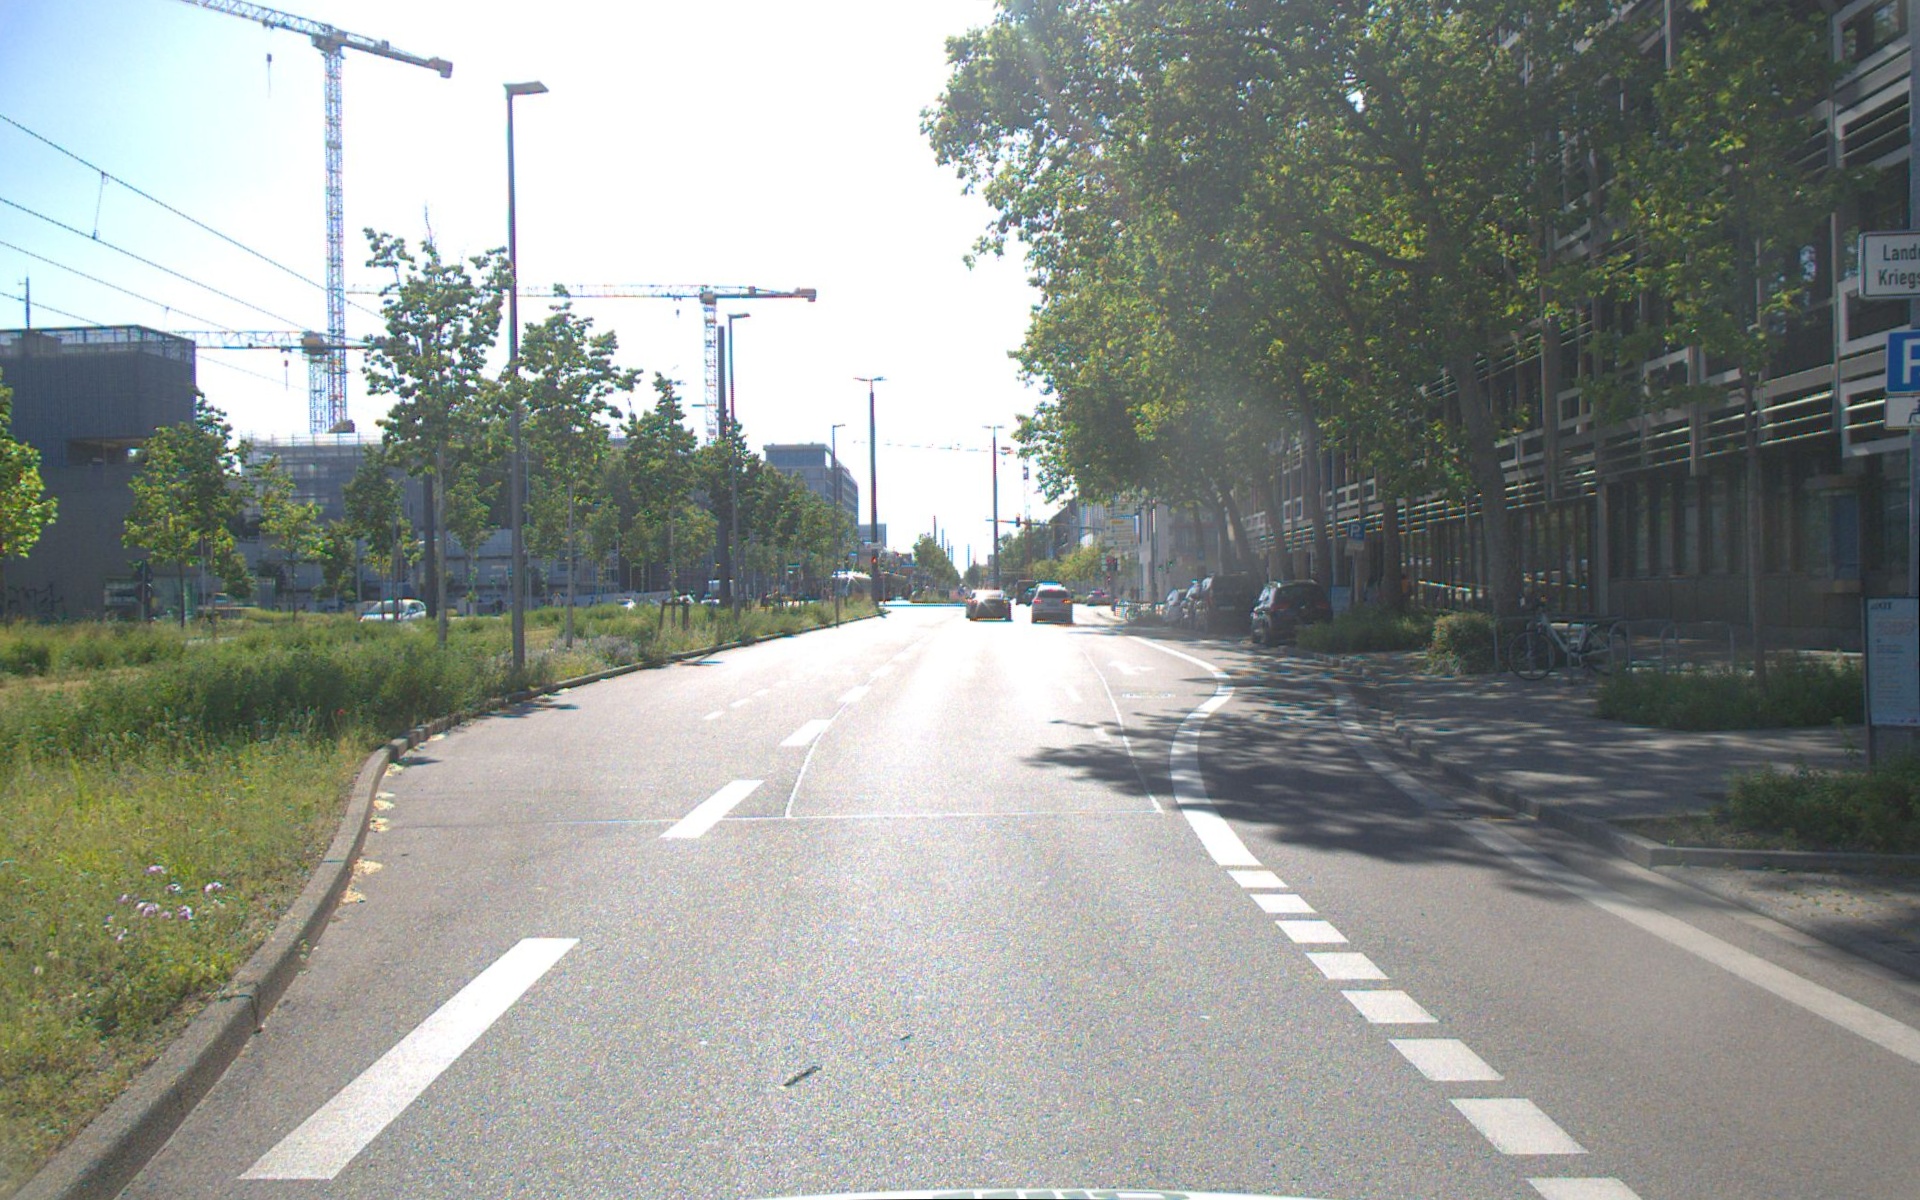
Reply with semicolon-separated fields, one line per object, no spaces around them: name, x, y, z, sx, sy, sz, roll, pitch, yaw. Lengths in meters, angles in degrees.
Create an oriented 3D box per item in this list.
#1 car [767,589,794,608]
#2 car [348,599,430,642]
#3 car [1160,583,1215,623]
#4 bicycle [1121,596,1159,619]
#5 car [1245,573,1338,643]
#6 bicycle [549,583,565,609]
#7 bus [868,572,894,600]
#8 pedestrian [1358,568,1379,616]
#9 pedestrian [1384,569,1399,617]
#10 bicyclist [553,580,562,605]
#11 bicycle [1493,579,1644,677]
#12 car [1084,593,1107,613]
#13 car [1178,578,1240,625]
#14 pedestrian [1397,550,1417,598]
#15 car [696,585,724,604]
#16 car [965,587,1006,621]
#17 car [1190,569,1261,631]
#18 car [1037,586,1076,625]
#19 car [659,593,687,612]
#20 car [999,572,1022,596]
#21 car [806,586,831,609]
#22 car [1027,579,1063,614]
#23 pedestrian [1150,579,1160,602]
car;-11.934;-0.081;110.020;1.348;1.199;3.220;1;-1;1
car;-20.404;0.700;59.218;1.599;1.422;3.833;-1;0;0
car;9.041;0.090;65.954;1.669;1.518;4.601;-1;1;1
bicycle;8.117;0.350;74.615;1.659;0.974;0.478;-2;0;-3
car;8.366;0.172;42.074;1.668;1.672;4.638;-1;1;3
bicycle;-23.652;-0.253;97.083;0.353;1.480;1.914;-1;1;2
bus;-8.937;-1.510;187.156;2.574;3.011;9.896;1;0;-1
pedestrian;13.986;-0.269;56.591;0.496;1.612;0.634;-1;0;-7
pedestrian;14.773;-0.239;56.606;0.309;1.612;0.501;-1;0;-7
bicyclist;-23.637;-0.426;97.089;0.386;1.480;0.539;1;0;0
bicycle;8.746;0.400;23.796;1.898;1.258;0.579;-4;0;-2
car;11.796;0.303;143.780;1.628;1.678;3.700;1;-1;0
car;8.866;0.045;59.088;1.669;1.591;4.193;-1;0;1
pedestrian;15.297;-0.903;56.623;0.542;1.631;0.573;-1;0;1
car;-16.687;-0.334;110.516;1.348;1.199;3.220;1;-1;1
car;1.200;0.174;78.666;1.872;1.512;4.010;-1;1;0
car;8.579;-0.020;53.686;1.669;1.821;4.193;-3;0;1
car;4.313;0.210;74.070;1.685;1.646;4.188;-1;1;3
car;-26.290;0.252;151.626;1.799;1.641;3.896;1;-1;1
car;4.473;-1.377;147.149;1.952;2.049;4.001;1;-1;1
car;-11.842;-0.200;138.881;1.858;1.847;3.998;1;-1;-2
car;4.513;-0.184;88.732;1.686;1.814;4.186;-1;1;0
pedestrian;12.089;-0.586;102.507;0.550;1.466;0.632;1;-1;8
